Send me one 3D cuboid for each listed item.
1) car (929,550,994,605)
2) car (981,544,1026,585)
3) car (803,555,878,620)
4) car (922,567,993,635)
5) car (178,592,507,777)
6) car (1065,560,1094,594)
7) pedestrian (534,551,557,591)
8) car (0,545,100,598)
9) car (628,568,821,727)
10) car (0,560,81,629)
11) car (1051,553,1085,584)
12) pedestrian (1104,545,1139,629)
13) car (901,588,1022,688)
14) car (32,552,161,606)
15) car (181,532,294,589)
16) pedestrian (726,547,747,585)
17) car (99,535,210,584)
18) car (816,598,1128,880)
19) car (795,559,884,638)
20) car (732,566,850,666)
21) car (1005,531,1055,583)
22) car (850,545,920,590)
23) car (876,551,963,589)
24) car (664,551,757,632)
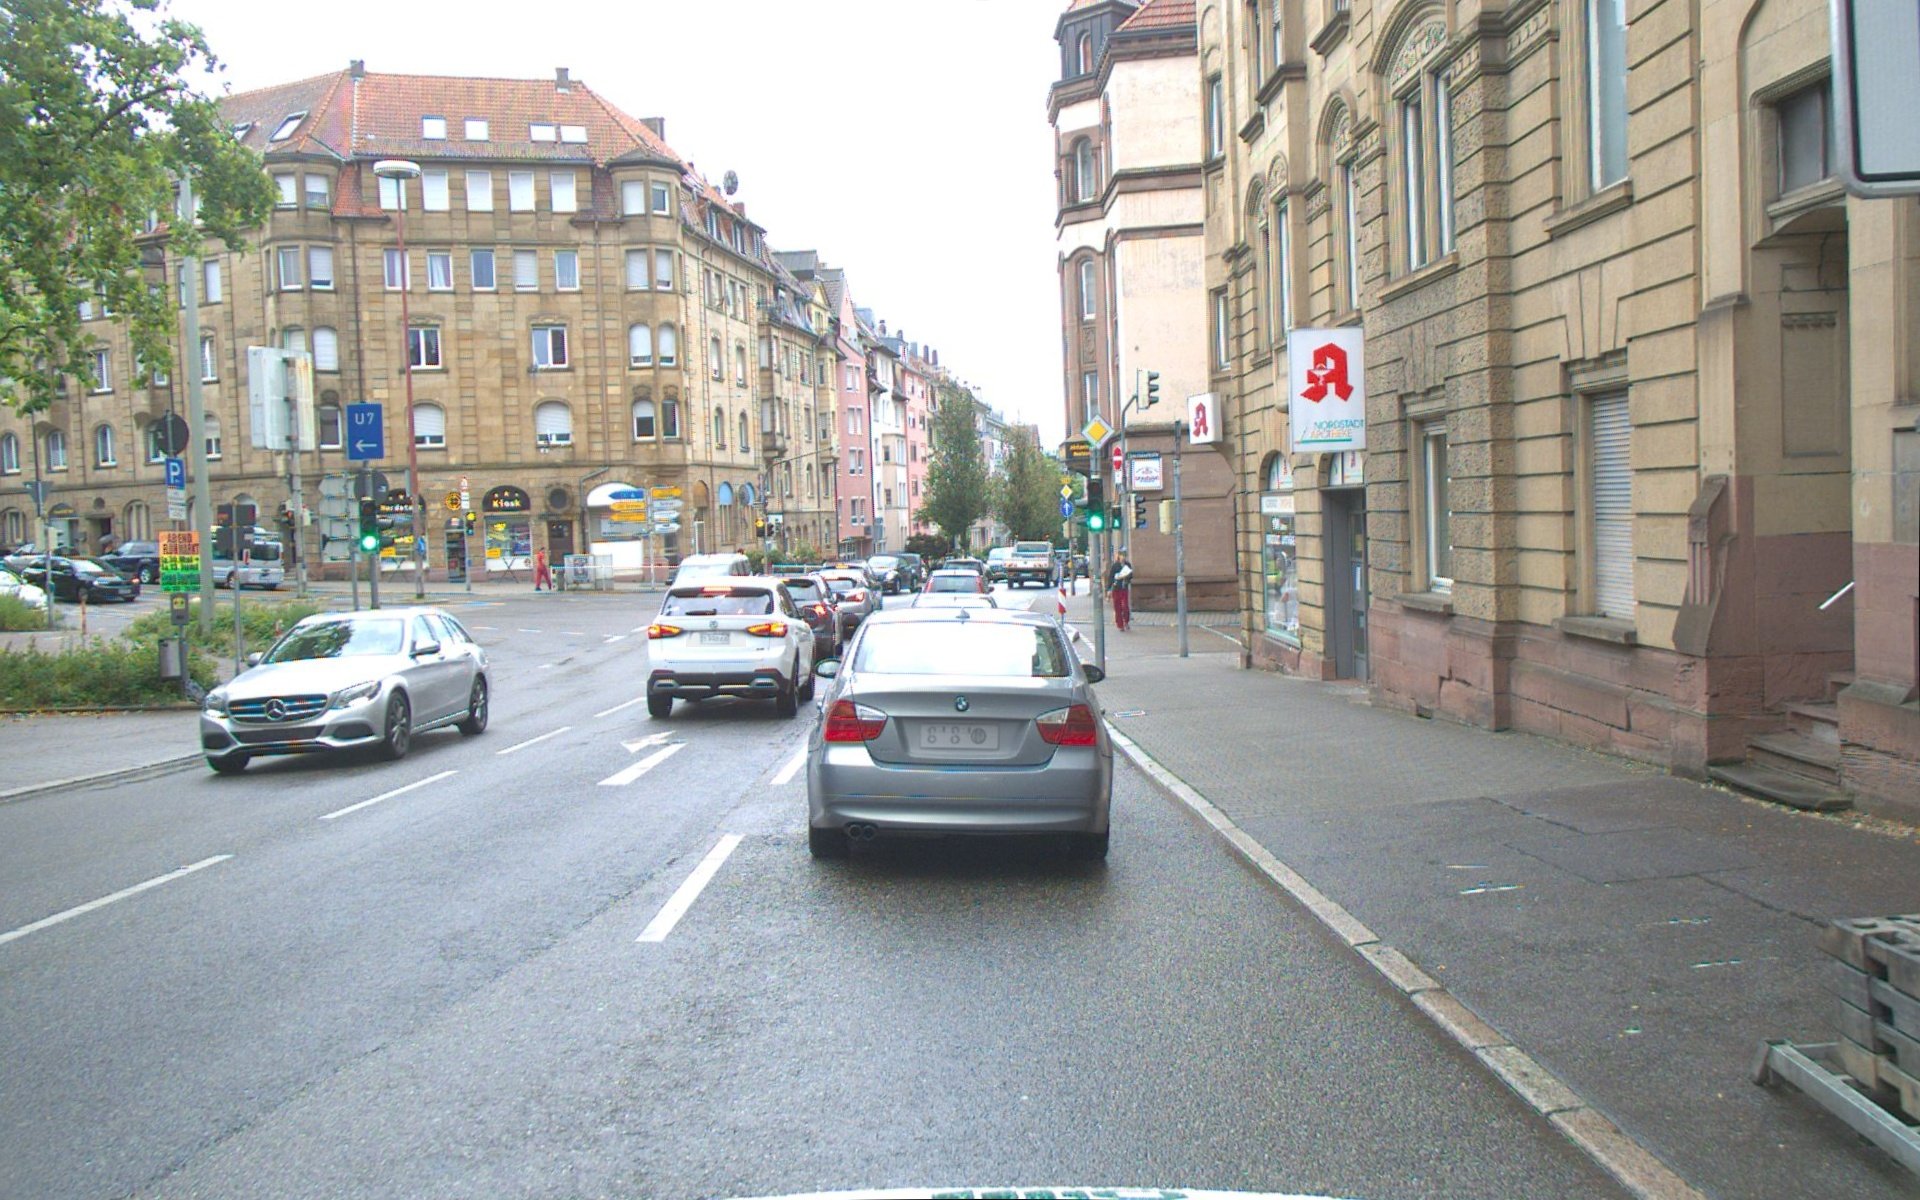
[{"bbox_3d":[0.081,-0.686,50.081,1.723,1.594,4.002,0,1,3],"label":"car"},{"bbox_3d":[2.393,-1.909,90.010,1.951,2.049,4.003,-2,0,7],"label":"car"},{"bbox_3d":[-3.270,-0.349,45.734,1.723,1.737,4.001,0,1,1],"label":"car"},{"bbox_3d":[-0.011,-0.004,38.468,1.562,1.490,4.001,0,1,1],"label":"car"},{"bbox_3d":[-6.207,0.750,17.222,1.702,1.553,4.471,-4,0,-1],"label":"car"},{"bbox_3d":[7.522,-1.421,103.832,1.689,2.049,4.002,1,0,5],"label":"car"},{"bbox_3d":[-16.796,-1.167,67.079,0.526,1.605,0.719,-1,0,27],"label":"pedestrian"},{"bbox_3d":[-39.516,-1.258,71.702,4.197,2.138,1.997,2,2,28],"label":"car"},{"bbox_3d":[-2.828,0.499,20.676,1.830,1.653,4.000,-2,2,-1],"label":"car"},{"bbox_3d":[-29.234,-0.141,51.179,3.914,2.049,1.874,-1,0,31],"label":"car"},{"bbox_3d":[5.966,-1.722,91.540,1.689,1.579,4.001,2,0,2],"label":"car"},{"bbox_3d":[3.816,-0.311,39.193,0.727,1.943,0.659,-1,0,-1],"label":"pedestrian"},{"bbox_3d":[0.049,0.520,25.484,1.723,1.407,4.001,0,1,1],"label":"car"},{"bbox_3d":[-29.268,-0.746,56.044,4.157,1.756,1.996,1,2,31],"label":"car"},{"bbox_3d":[-28.879,-1.611,66.117,4.197,2.138,1.997,2,2,28],"label":"car"},{"bbox_3d":[-9.561,-1.459,70.709,0.716,1.605,0.528,-1,0,8],"label":"pedestrian"},{"bbox_3d":[-32.552,-1.643,66.846,4.197,1.870,1.997,2,2,28],"label":"car"},{"bbox_3d":[0.091,0.708,10.242,1.590,1.407,3.616,0,1,1],"label":"car"},{"bbox_3d":[-2.746,-0.057,38.449,1.723,1.737,4.001,0,1,1],"label":"car"},{"bbox_3d":[-3.072,0.261,30.733,1.723,1.737,4.001,0,1,1],"label":"car"},{"bbox_3d":[3.007,-1.830,71.650,1.953,2.143,4.000,0,0,0],"label":"car"},{"bbox_3d":[-2.847,-1.231,63.876,1.805,1.568,4.003,1,0,10],"label":"car"},{"bbox_3d":[-2.422,-1.781,99.305,5.071,2.049,2.698,2,0,-1],"label":"car"},{"bbox_3d":[-6.366,-0.238,42.667,1.725,1.959,4.323,-1,1,0],"label":"car"}]
